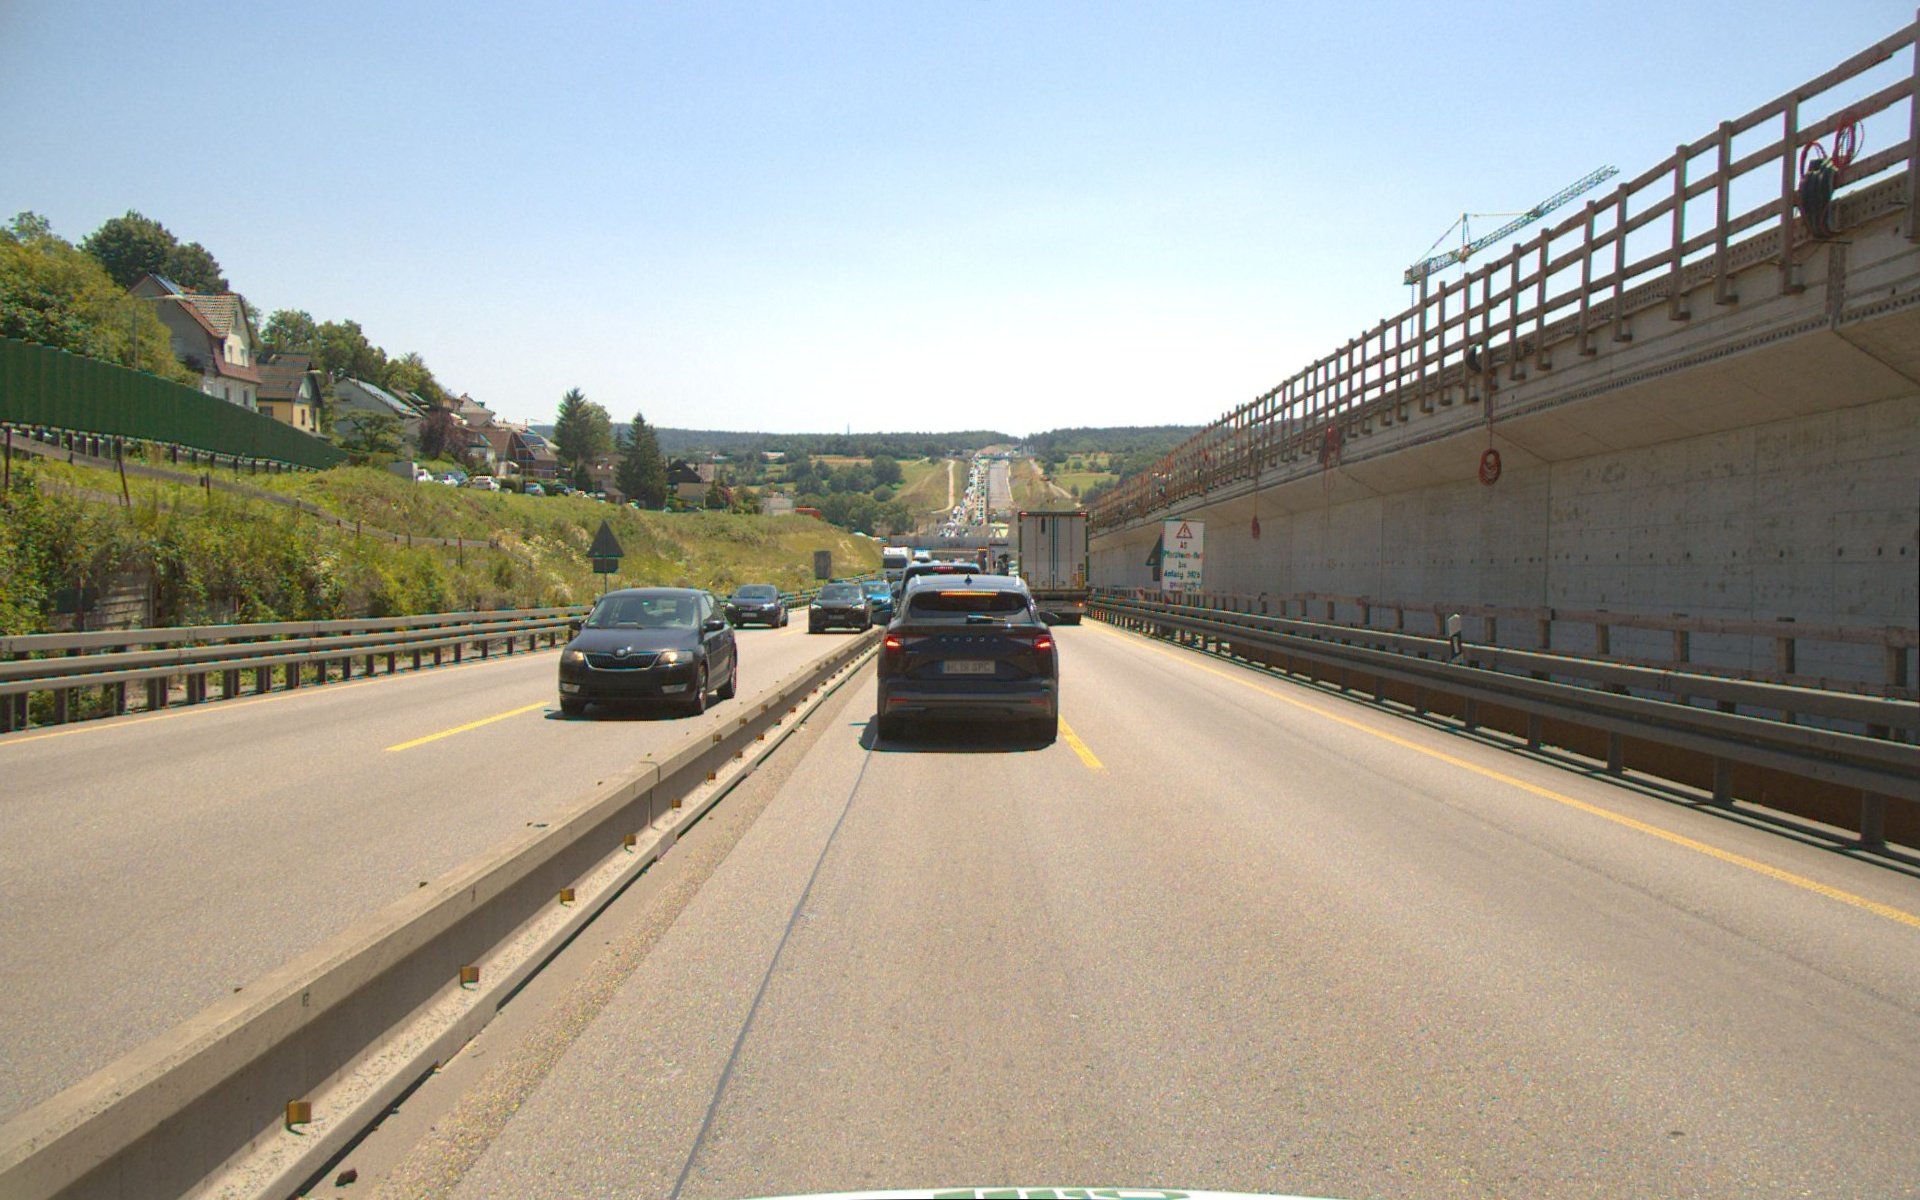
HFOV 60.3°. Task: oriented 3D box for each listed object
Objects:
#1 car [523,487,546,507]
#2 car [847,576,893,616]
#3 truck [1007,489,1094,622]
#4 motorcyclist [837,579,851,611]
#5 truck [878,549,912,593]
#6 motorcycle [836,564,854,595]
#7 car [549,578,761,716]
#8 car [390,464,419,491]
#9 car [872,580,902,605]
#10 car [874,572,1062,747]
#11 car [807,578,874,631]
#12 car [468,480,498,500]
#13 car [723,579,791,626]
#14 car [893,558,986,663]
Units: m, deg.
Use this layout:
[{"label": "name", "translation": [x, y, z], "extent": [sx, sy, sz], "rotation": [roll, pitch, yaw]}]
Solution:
[{"label": "car", "translation": [-40.743, -9.839, 158.405], "extent": [1.890, 1.758, 3.991], "rotation": [0, 1, -10]}, {"label": "car", "translation": [-3.721, -0.174, 69.185], "extent": [1.728, 1.638, 3.892], "rotation": [0, 1, 0]}, {"label": "truck", "translation": [3.398, -1.576, 64.879], "extent": [2.787, 4.696, 11.811], "rotation": [1, 0, 0]}, {"label": "motorcyclist", "translation": [-5.999, -0.254, 85.539], "extent": [0.652, 1.613, 0.736], "rotation": [0, 0, 0]}, {"label": "truck", "translation": [-6.670, -2.888, 168.713], "extent": [3.119, 4.312, 6.476], "rotation": [0, 0, -6]}, {"label": "motorcycle", "translation": [-5.952, -1.073, 85.754], "extent": [0.774, 1.578, 2.621], "rotation": [1, 1, 0]}, {"label": "car", "translation": [-3.667, 0.541, 20.708], "extent": [1.573, 1.472, 4.671], "rotation": [-2, -1, 2]}, {"label": "car", "translation": [-35.989, -7.935, 107.170], "extent": [1.701, 1.422, 3.781], "rotation": [2, 0, -19]}, {"label": "car", "translation": [-4.381, -0.465, 99.322], "extent": [1.730, 1.512, 3.865], "rotation": [0, 1, -1]}, {"label": "car", "translation": [0.044, 0.536, 17.219], "extent": [1.746, 1.625, 3.754], "rotation": [0, 0, -1]}, {"label": "car", "translation": [-3.671, 0.142, 51.409], "extent": [1.805, 1.557, 4.293], "rotation": [0, 0, -1]}, {"label": "car", "translation": [-39.950, -9.214, 138.495], "extent": [1.958, 1.342, 3.990], "rotation": [4, 0, -11]}, {"label": "car", "translation": [-6.942, 0.081, 57.034], "extent": [1.777, 1.473, 5.005], "rotation": [2, 0, -1]}, {"label": "car", "translation": [-0.466, 0.191, 33.621], "extent": [1.714, 1.928, 3.753], "rotation": [2, 0, -2]}]
